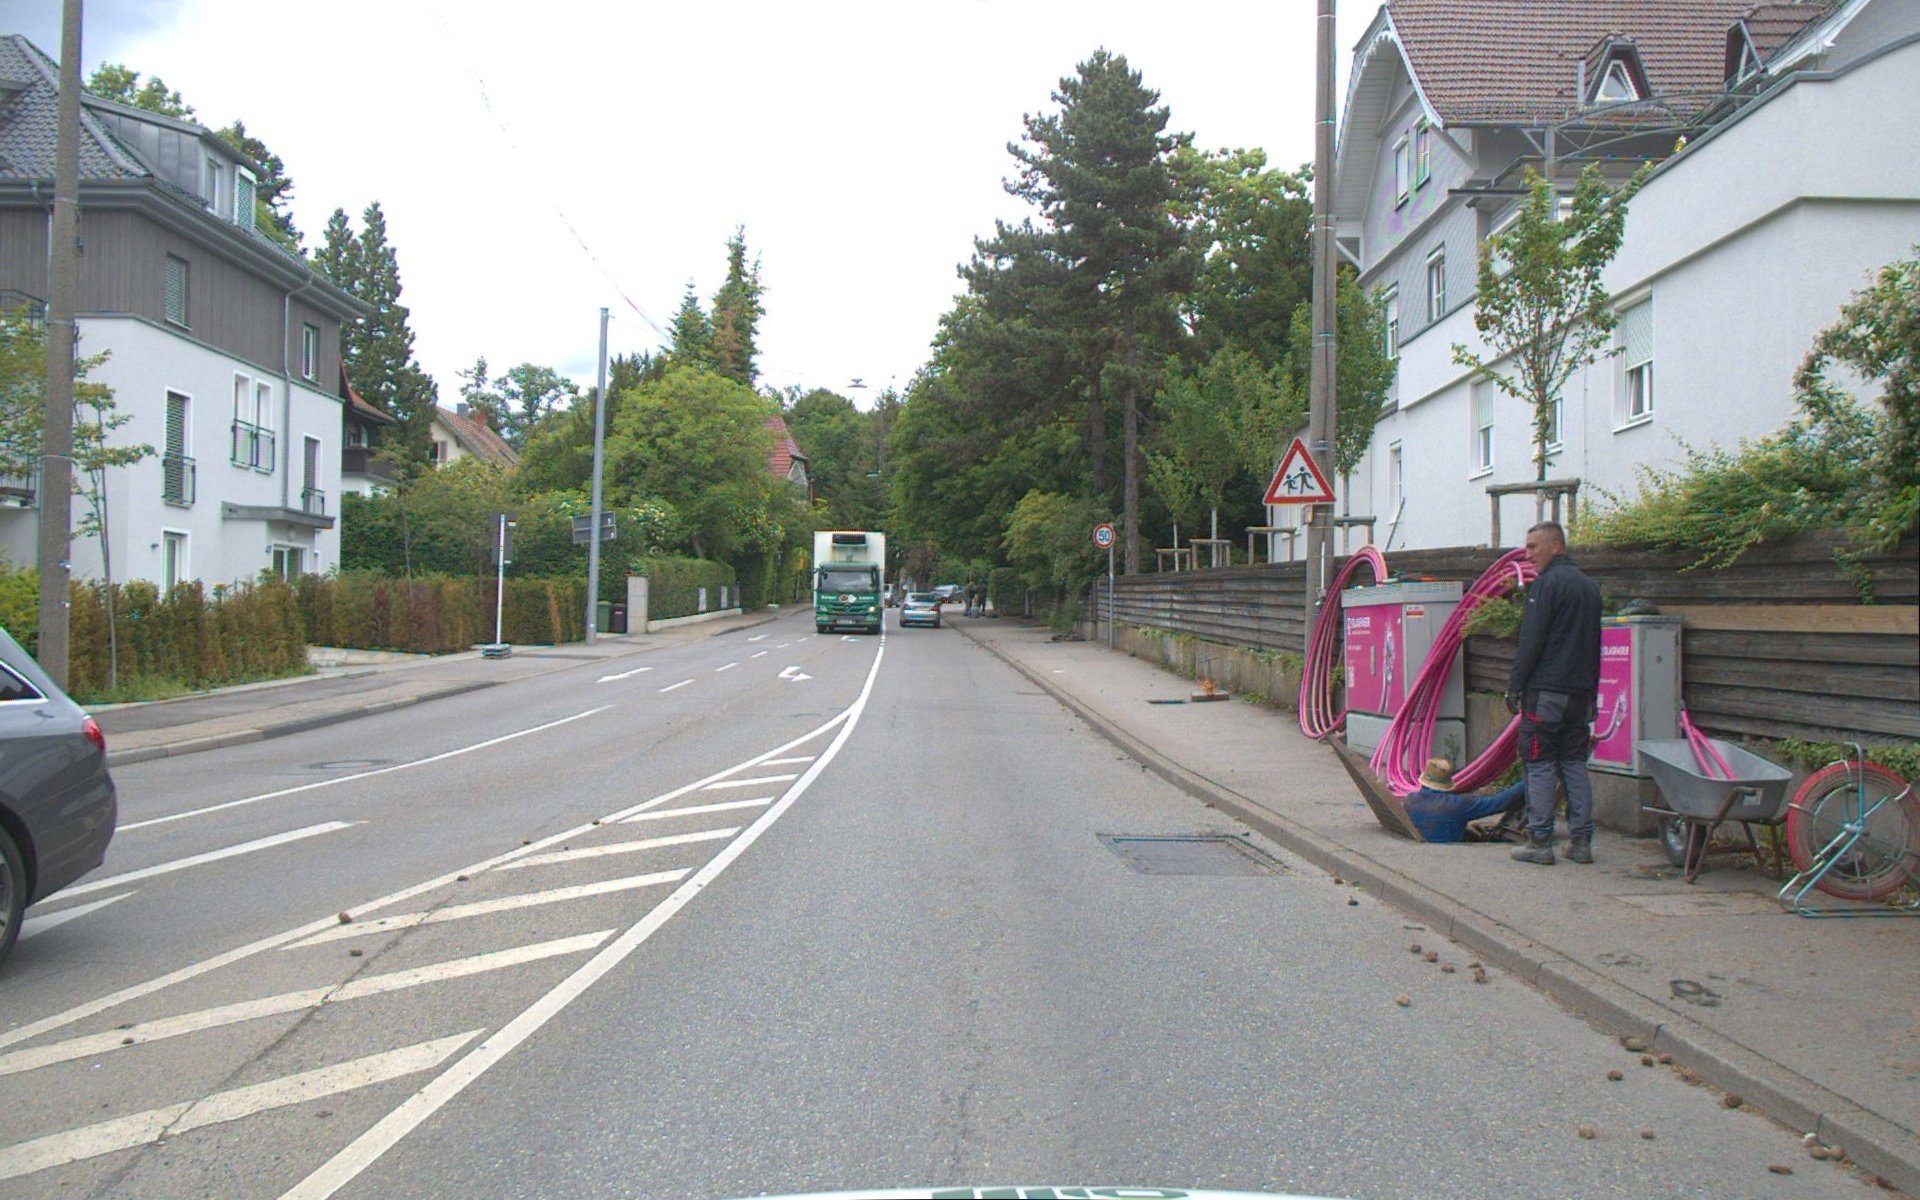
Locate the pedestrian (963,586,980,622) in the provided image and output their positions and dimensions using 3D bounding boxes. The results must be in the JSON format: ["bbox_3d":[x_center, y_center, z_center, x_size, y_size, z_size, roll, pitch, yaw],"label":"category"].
[{"bbox_3d":[0.564,0.199,83.426,0.791,1.838,0.740,1,0,-3],"label":"pedestrian"}]

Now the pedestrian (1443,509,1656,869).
[{"bbox_3d":[3.380,0.480,9.521,0.834,1.957,0.796,0,0,-22],"label":"pedestrian"}]

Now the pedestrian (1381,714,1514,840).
[{"bbox_3d":[3.129,1.121,10.618,0.642,0.709,0.576,0,0,-43],"label":"pedestrian"}]

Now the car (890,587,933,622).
[{"bbox_3d":[-2.059,0.219,69.977,1.761,1.440,4.334,0,-1,-2],"label":"car"}]

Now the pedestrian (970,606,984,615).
[{"bbox_3d":[0.835,0.520,81.044,0.659,0.400,0.740,1,0,-3],"label":"pedestrian"}]

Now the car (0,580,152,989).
[{"bbox_3d":[-4.705,0.710,4.771,1.786,1.511,4.752,-1,1,10],"label":"car"}]

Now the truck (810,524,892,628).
[{"bbox_3d":[-4.057,-0.776,60.370,2.724,3.522,7.484,0,-1,-6],"label":"truck"}]
